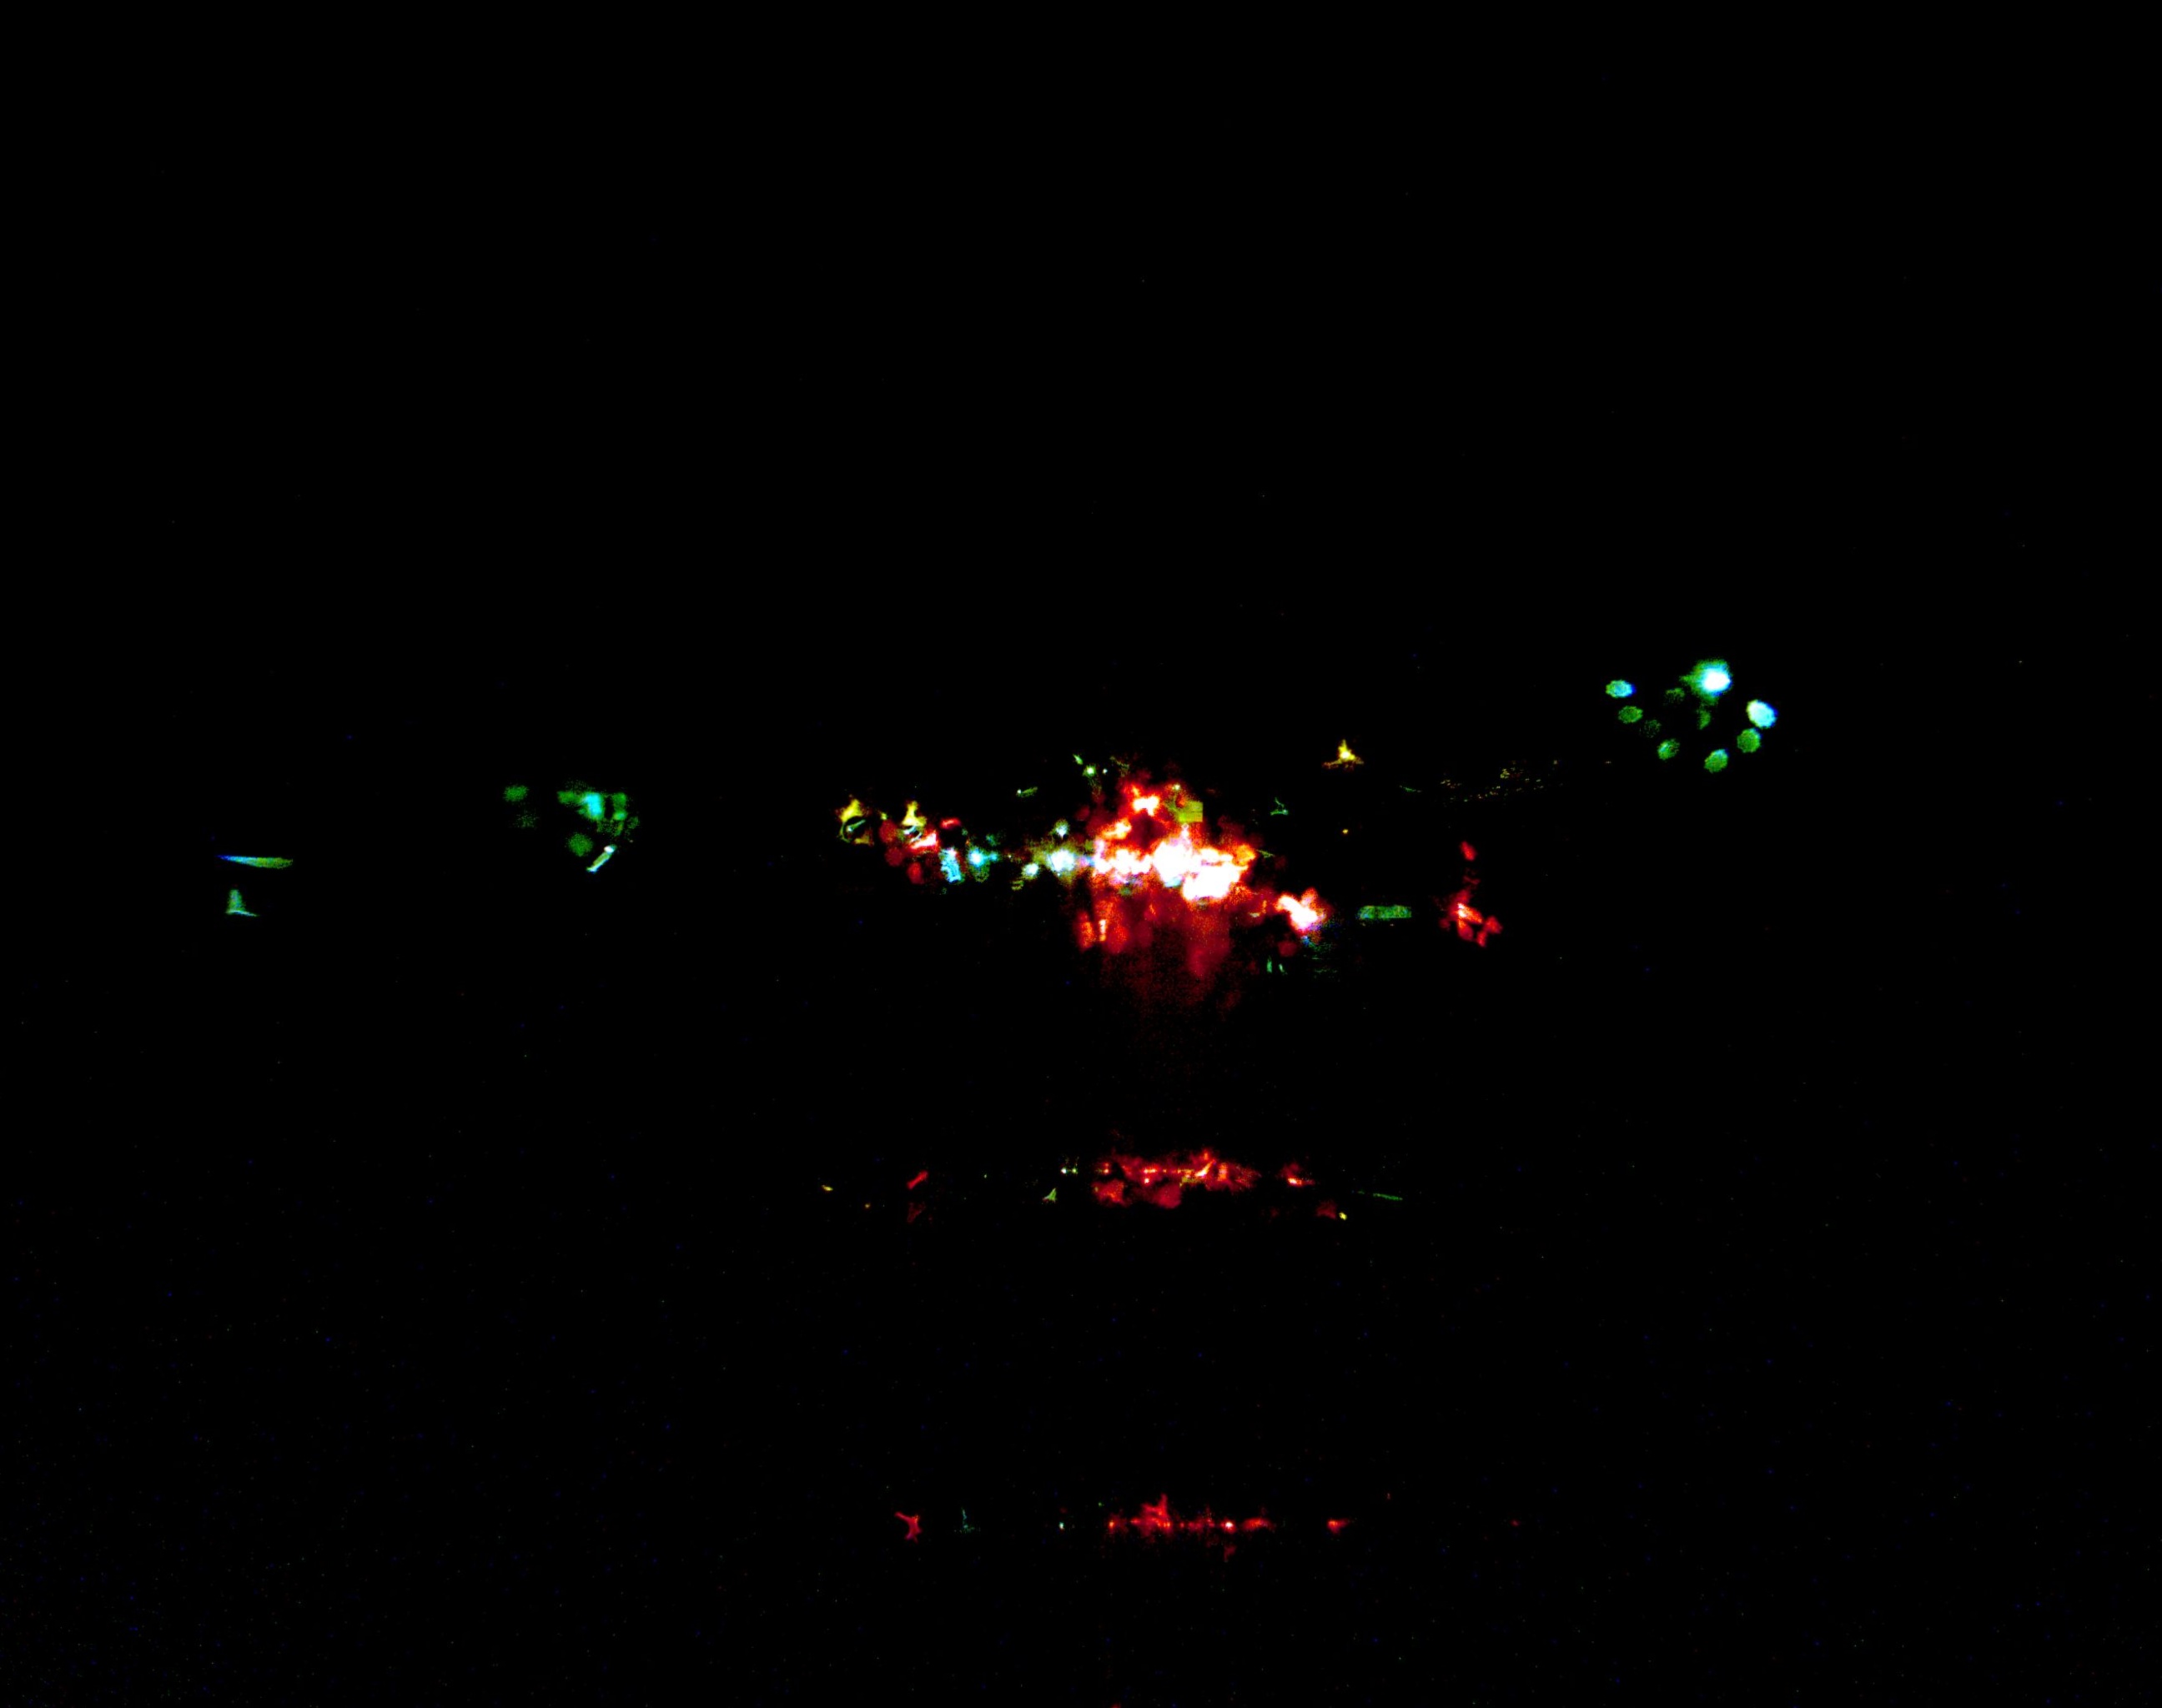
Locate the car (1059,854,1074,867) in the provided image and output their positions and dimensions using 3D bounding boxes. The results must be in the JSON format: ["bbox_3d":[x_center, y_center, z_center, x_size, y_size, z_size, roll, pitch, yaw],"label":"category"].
[{"bbox_3d":[-1.905,0.823,105.830,1.706,1.499,3.723,-2,0,-5],"label":"car"}]

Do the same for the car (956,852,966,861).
[{"bbox_3d":[-27.271,0.589,185.165,1.991,1.912,4.733,0,0,-6],"label":"car"}]

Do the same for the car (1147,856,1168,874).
[{"bbox_3d":[6.330,0.883,67.877,1.655,1.450,4.055,0,-1,5],"label":"car"}]

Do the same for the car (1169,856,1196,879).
[{"bbox_3d":[6.772,0.894,54.332,1.654,1.450,4.058,-1,-1,7],"label":"car"}]

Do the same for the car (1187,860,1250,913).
[{"bbox_3d":[4.254,0.936,25.476,1.758,1.450,4.228,0,0,8],"label":"car"}]

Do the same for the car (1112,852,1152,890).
[{"bbox_3d":[2.456,0.761,38.335,1.700,1.638,3.736,-2,0,5],"label":"car"}]

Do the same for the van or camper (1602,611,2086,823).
[{"bbox_3d":[13.721,-2.177,15.506,2.584,2.908,6.327,-1,0,-14],"label":"van or camper"}]

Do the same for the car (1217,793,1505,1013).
[{"bbox_3d":[2.874,0.426,9.434,1.936,1.972,4.218,0,0,1],"label":"car"}]

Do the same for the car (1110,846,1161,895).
[{"bbox_3d":[1.982,0.577,29.074,1.686,1.630,3.858,0,0,5],"label":"car"}]
